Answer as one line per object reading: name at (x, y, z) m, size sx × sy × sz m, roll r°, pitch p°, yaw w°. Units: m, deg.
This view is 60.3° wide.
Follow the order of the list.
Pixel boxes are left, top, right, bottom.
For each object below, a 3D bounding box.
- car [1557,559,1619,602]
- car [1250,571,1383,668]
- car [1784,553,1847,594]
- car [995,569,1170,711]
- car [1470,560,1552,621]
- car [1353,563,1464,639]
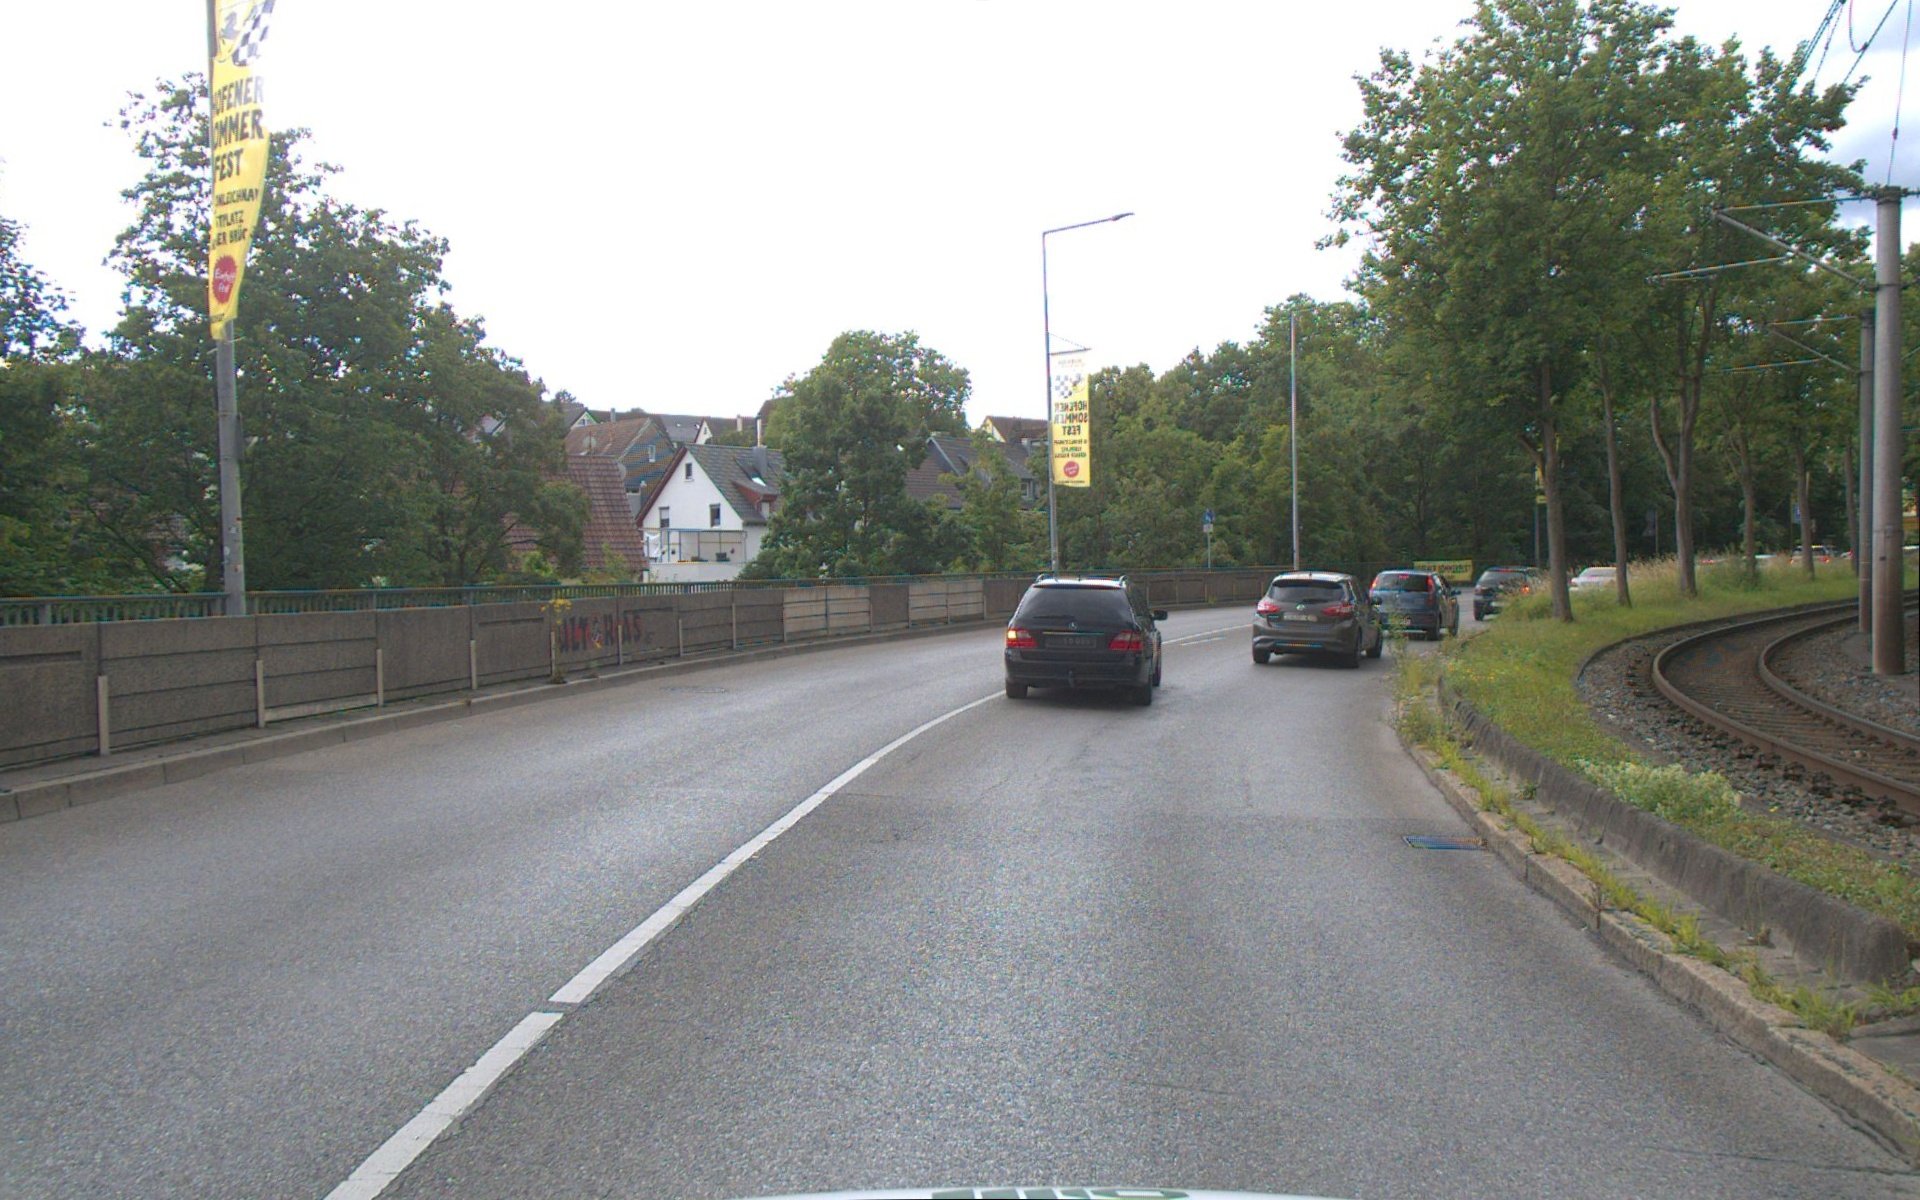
car at (21.207, -0.654, 55.772) m, size 1.472 × 1.388 × 3.582 m, roll -1°, pitch 1°, yaw 28°
car at (6.234, 0.277, 28.648) m, size 1.738 × 1.520 × 4.001 m, roll 2°, pitch 1°, yaw 19°
car at (40.710, -1.250, 78.639) m, size 1.898 × 1.892 × 3.981 m, roll -1°, pitch 1°, yaw 39°
car at (1.660, 0.406, 20.967) m, size 1.812 × 1.511 × 4.425 m, roll 2°, pitch 2°, yaw 9°
car at (15.038, -0.277, 45.063) m, size 1.547 × 1.565 × 3.996 m, roll -1°, pitch 1°, yaw 27°
car at (10.154, -0.010, 37.266) m, size 1.855 × 1.601 × 3.999 m, roll 1°, pitch 1°, yaw 23°
